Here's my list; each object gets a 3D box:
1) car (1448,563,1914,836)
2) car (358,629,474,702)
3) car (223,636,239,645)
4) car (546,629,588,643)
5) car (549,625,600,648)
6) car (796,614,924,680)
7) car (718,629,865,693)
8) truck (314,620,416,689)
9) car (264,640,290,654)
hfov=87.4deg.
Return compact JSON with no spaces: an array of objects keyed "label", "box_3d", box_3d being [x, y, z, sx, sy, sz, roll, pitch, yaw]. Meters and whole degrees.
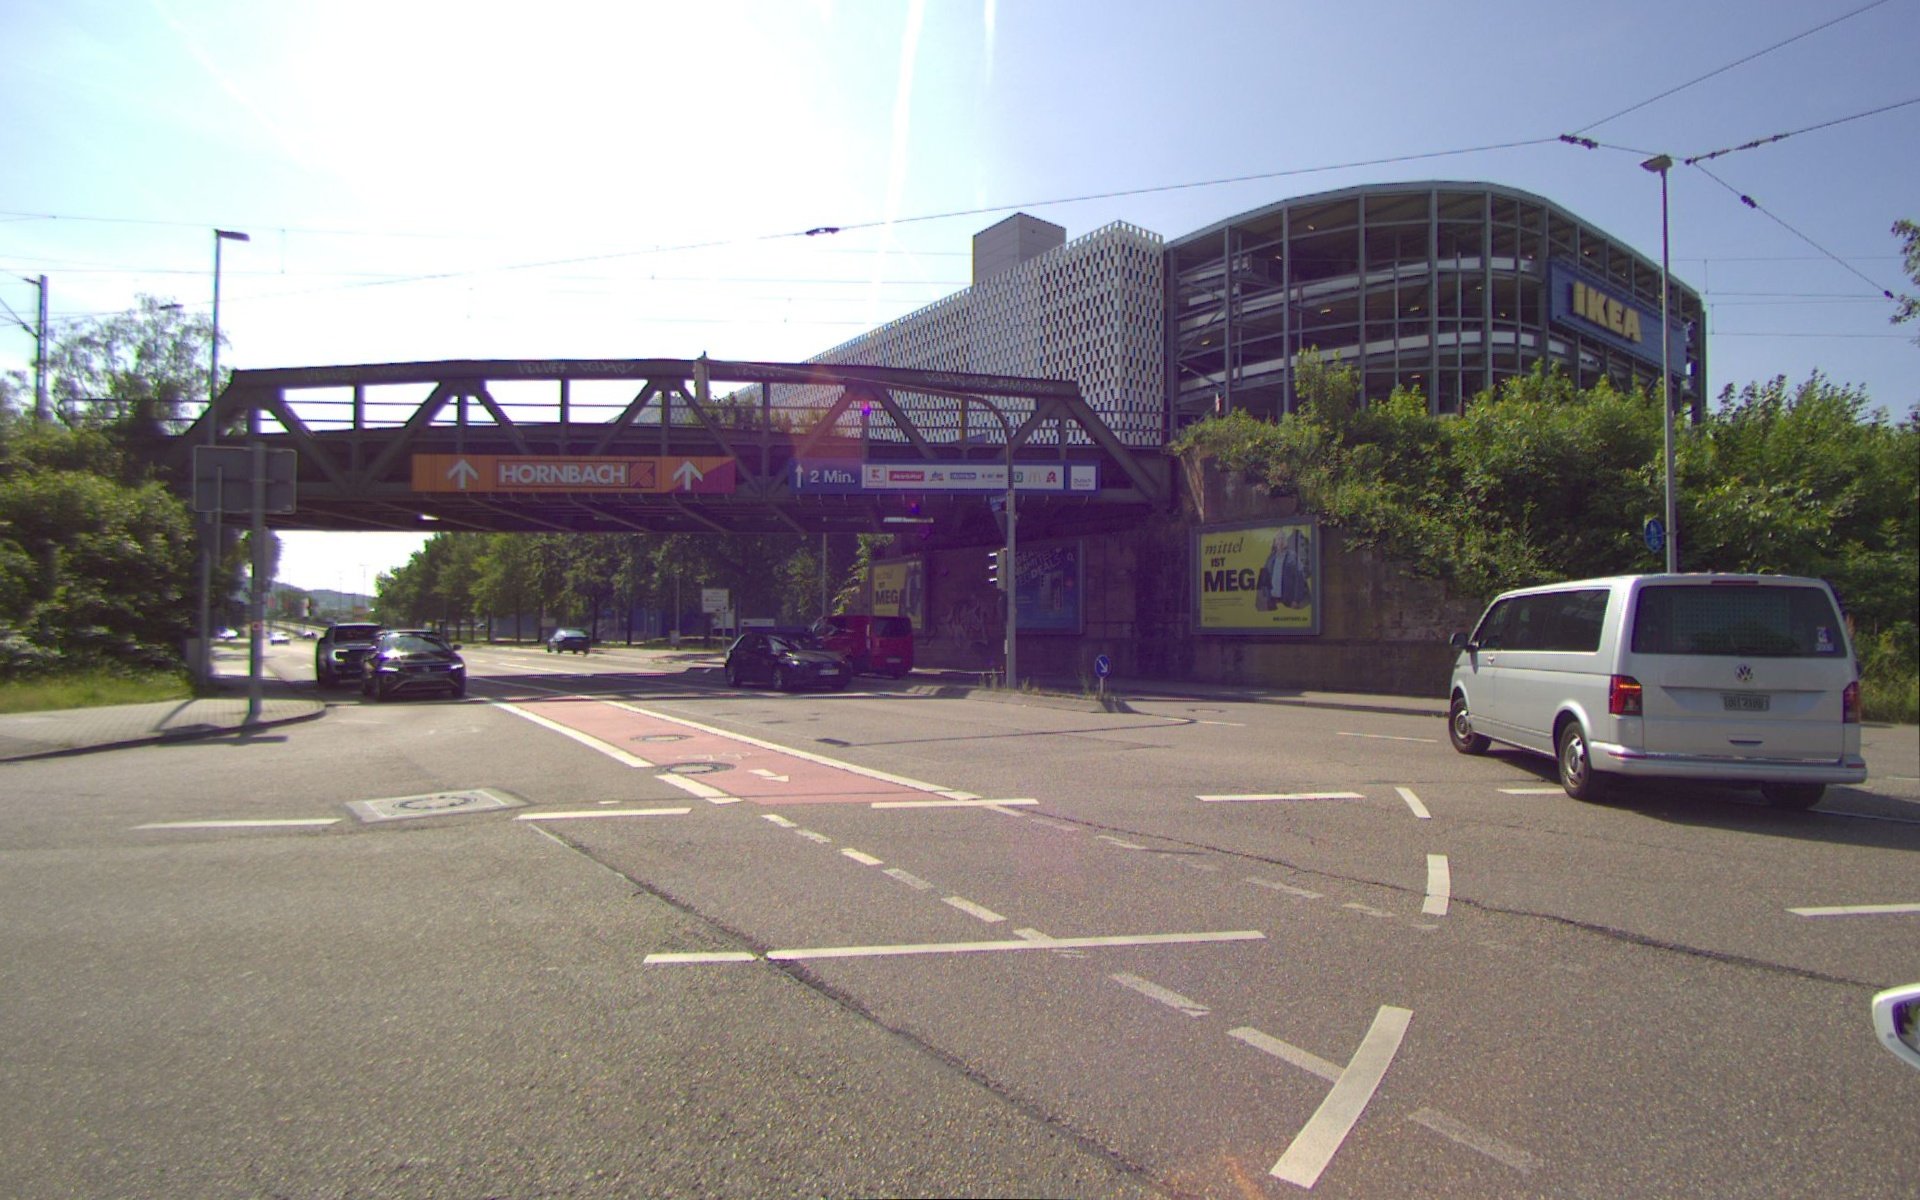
[{"label":"car","box_3d":[6.568,0.773,10.004,1.908,1.997,5.025,0,-1,12]},{"label":"car","box_3d":[-12.875,1.457,23.647,1.806,1.500,3.901,-1,0,-37]},{"label":"car","box_3d":[-122.973,6.824,169.364,1.959,1.512,4.035,2,-2,-40]},{"label":"car","box_3d":[-40.998,3.732,104.841,3.775,1.434,1.685,1,-2,-36]},{"label":"car","box_3d":[-23.920,2.246,62.302,1.777,1.415,4.278,2,-2,-38]},{"label":"car","box_3d":[-3.251,1.445,32.009,1.957,1.950,4.511,2,-2,-38]},{"label":"car","box_3d":[-4.230,1.437,24.700,1.756,1.413,4.288,2,-2,-38]},{"label":"truck","box_3d":[-17.927,1.545,30.141,2.014,1.844,5.269,-1,0,-37]},{"label":"car","box_3d":[-77.102,5.256,113.386,1.959,1.512,4.035,2,-2,-40]}]
